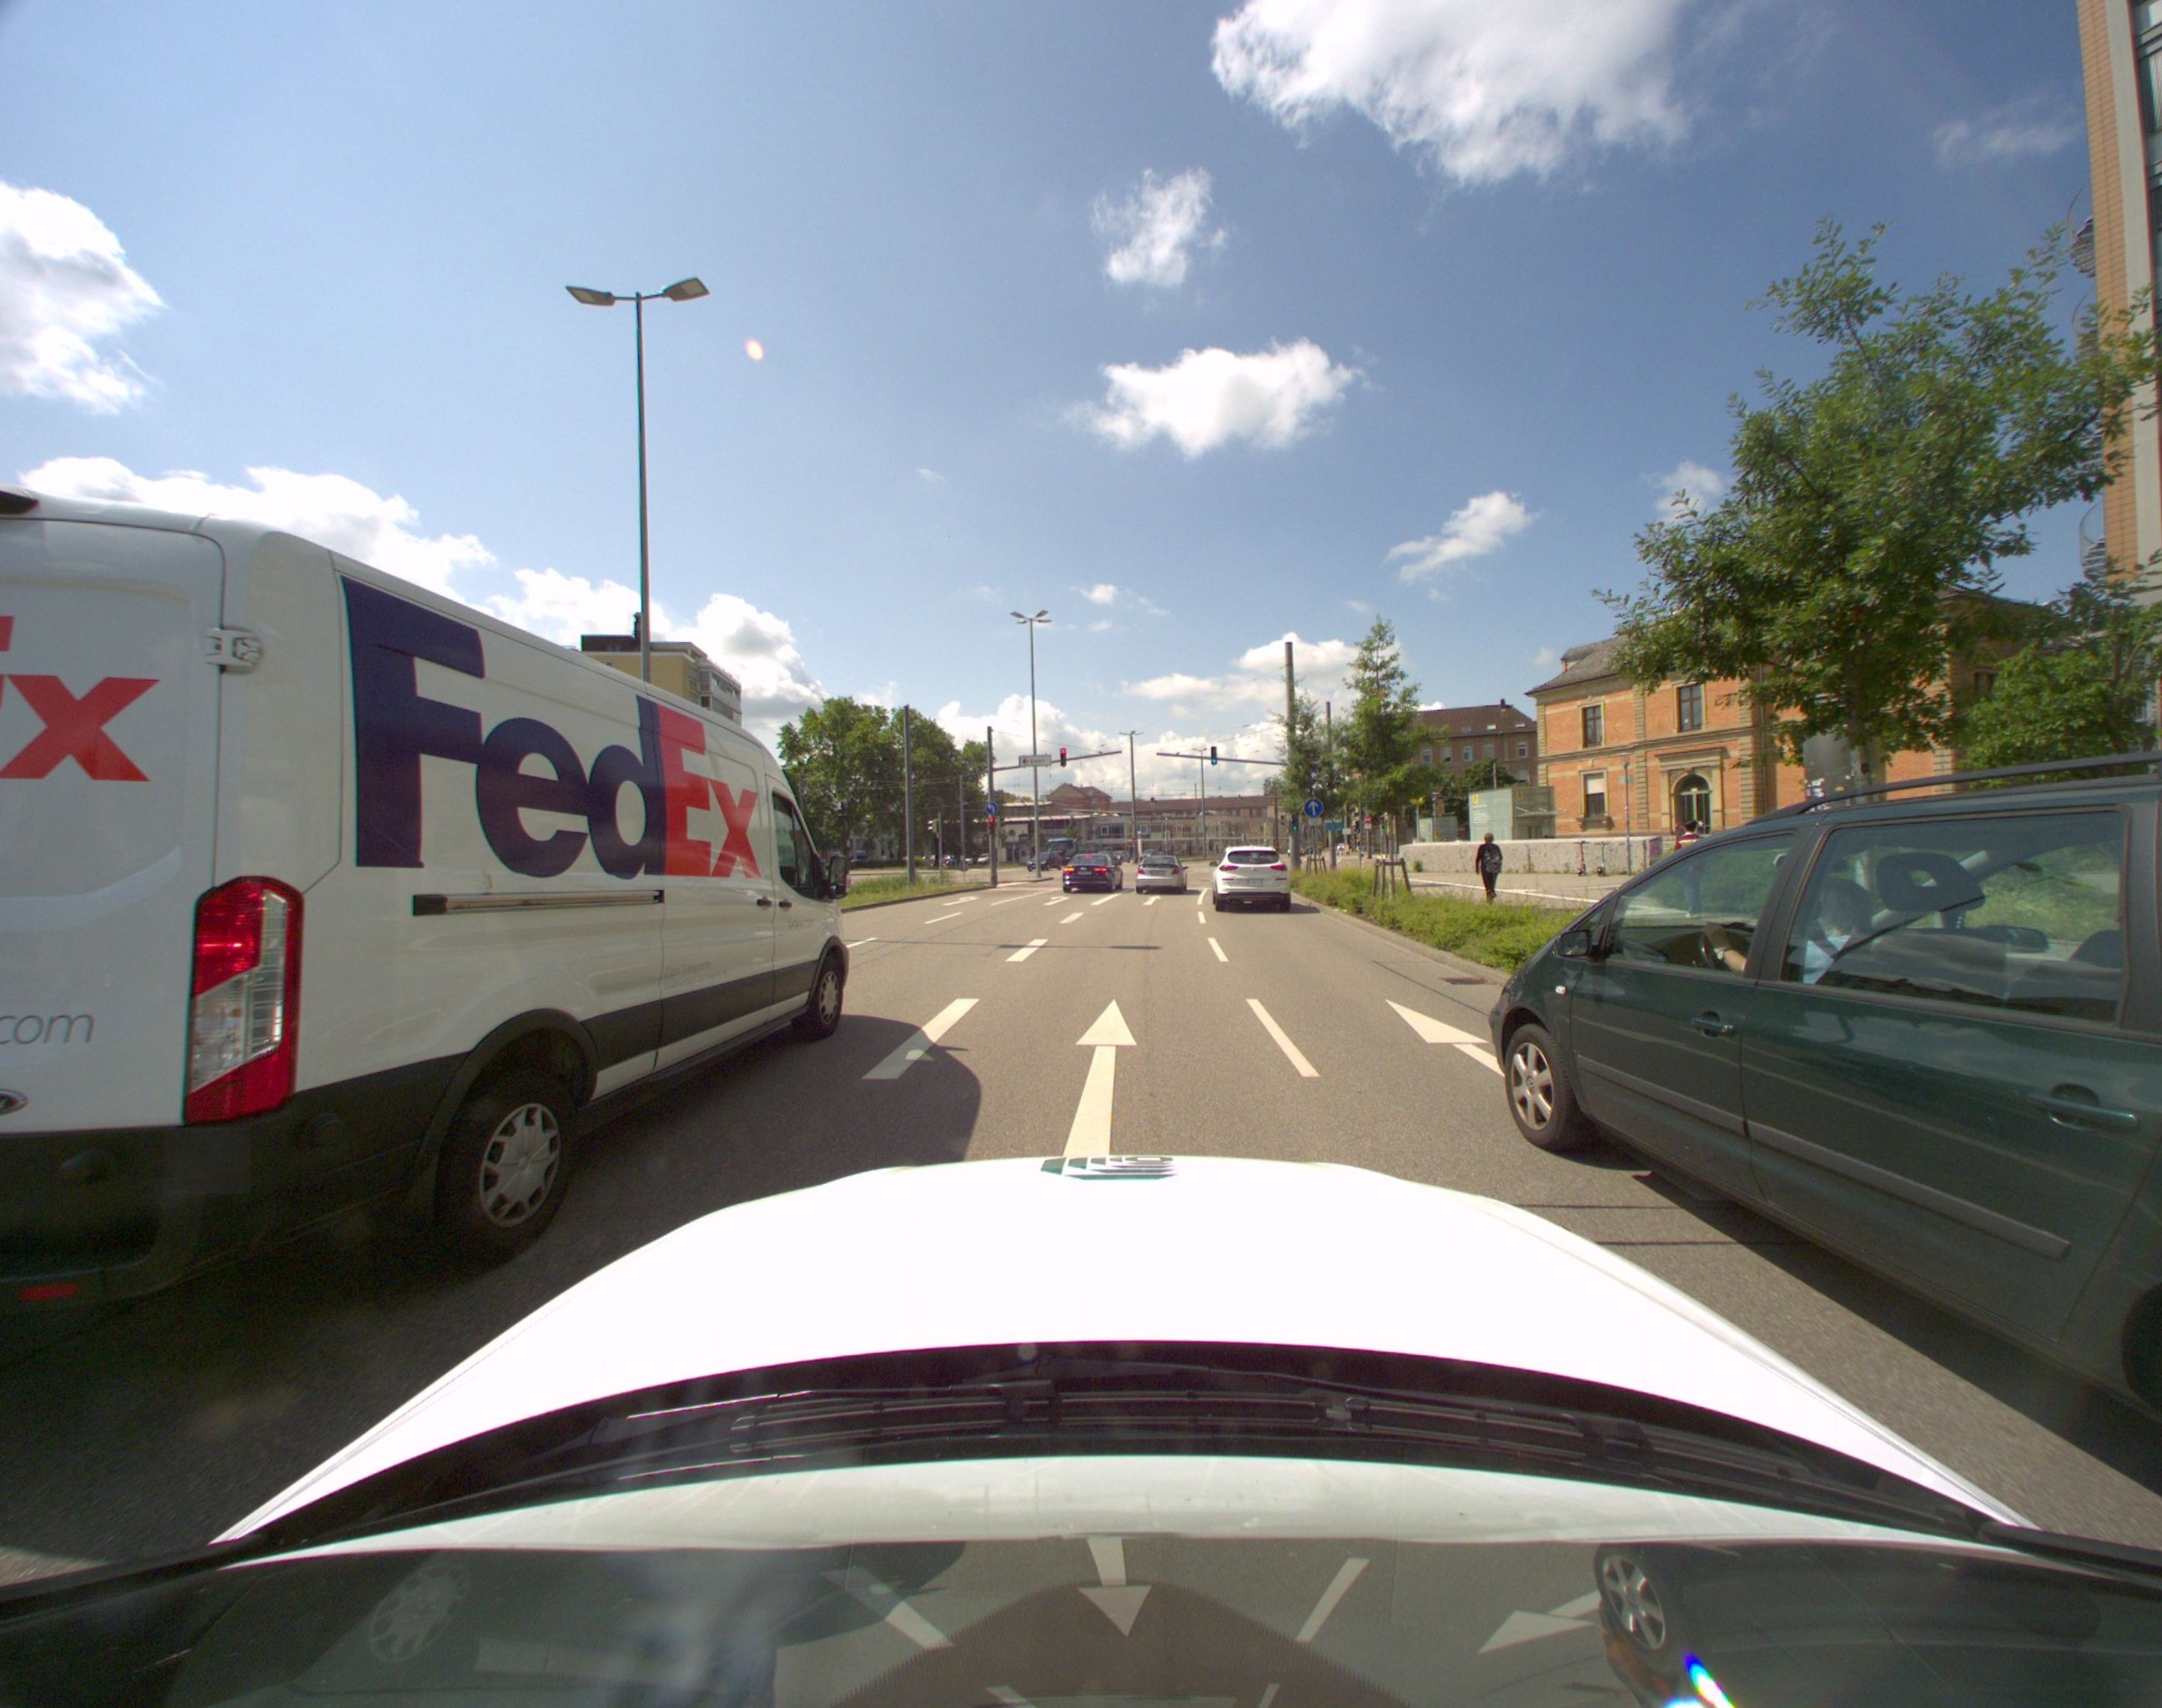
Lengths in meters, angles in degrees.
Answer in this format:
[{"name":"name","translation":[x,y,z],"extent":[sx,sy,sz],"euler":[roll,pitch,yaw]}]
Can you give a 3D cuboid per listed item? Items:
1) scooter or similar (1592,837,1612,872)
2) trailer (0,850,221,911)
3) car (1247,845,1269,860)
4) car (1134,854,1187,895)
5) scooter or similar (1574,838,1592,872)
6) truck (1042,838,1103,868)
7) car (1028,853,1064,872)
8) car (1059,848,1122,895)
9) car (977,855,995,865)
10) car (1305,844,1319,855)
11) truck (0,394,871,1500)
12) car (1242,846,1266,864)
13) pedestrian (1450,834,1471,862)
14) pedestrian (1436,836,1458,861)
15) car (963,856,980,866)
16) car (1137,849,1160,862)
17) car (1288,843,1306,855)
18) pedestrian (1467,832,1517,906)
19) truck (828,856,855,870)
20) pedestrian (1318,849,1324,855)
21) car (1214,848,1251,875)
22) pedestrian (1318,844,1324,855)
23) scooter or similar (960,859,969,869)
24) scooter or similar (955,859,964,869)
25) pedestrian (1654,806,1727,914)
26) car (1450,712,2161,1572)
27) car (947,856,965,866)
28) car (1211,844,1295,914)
[{"name":"scooter or similar","translation":[17.854,0.016,27.909],"extent":[1.461,1.123,0.228],"euler":[-4,1,-45]},{"name":"trailer","translation":[-68.439,1.792,55.963],"extent":[13.995,3.969,2.699],"euler":[-1,-1,-9]},{"name":"car","translation":[20.496,-0.235,94.191],"extent":[1.865,1.641,3.978],"euler":[-2,0,21]},{"name":"car","translation":[3.072,0.728,30.710],"extent":[1.731,1.391,4.190],"euler":[0,1,9]},{"name":"scooter or similar","translation":[17.778,0.027,28.830],"extent":[1.290,1.123,0.228],"euler":[-4,1,-45]},{"name":"truck","translation":[-0.723,-0.120,83.567],"extent":[2.860,2.852,8.841],"euler":[-2,0,23]},{"name":"car","translation":[-2.899,0.731,68.673],"extent":[1.640,1.469,4.173],"euler":[-2,0,18]},{"name":"car","translation":[0.461,0.612,31.680],"extent":[1.918,1.641,4.801],"euler":[-2,0,6]},{"name":"car","translation":[-15.699,1.062,134.607],"extent":[1.984,1.574,4.184],"euler":[-1,-1,5]},{"name":"car","translation":[35.497,-0.738,125.226],"extent":[1.866,1.641,3.976],"euler":[-2,0,19]},{"name":"truck","translation":[-3.115,0.239,4.896],"extent":[2.130,2.640,5.916],"euler":[-1,0,0]},{"name":"car","translation":[16.346,0.091,77.038],"extent":[1.867,1.641,3.974],"euler":[-2,0,16]},{"name":"pedestrian","translation":[25.386,-0.404,54.500],"extent":[0.759,1.751,0.856],"euler":[-3,-2,-25]},{"name":"pedestrian","translation":[24.954,-0.361,55.514],"extent":[0.969,1.657,0.856],"euler":[-3,-2,-25]},{"name":"car","translation":[-18.147,1.127,135.123],"extent":[1.984,1.574,4.184],"euler":[-1,-1,5]},{"name":"car","translation":[8.662,0.198,104.471],"extent":[1.703,1.531,4.144],"euler":[-2,0,23]},{"name":"car","translation":[29.851,-0.703,112.380],"extent":[1.864,1.641,3.979],"euler":[-2,0,23]},{"name":"pedestrian","translation":[9.031,0.335,17.925],"extent":[0.752,1.590,0.763],"euler":[-1,-1,7]},{"name":"truck","translation":[-37.733,1.423,128.435],"extent":[1.791,2.120,4.795],"euler":[-2,0,13]},{"name":"pedestrian","translation":[33.708,-0.267,114.361],"extent":[0.520,0.906,1.569],"euler":[-1,-1,23]},{"name":"car","translation":[8.605,0.390,46.126],"extent":[1.868,1.419,3.971],"euler":[-2,0,13]},{"name":"pedestrian","translation":[33.746,-0.618,114.509],"extent":[0.686,1.457,0.683],"euler":[-1,-1,23]},{"name":"scooter or similar","translation":[-12.148,1.038,84.913],"extent":[0.374,1.115,1.101],"euler":[-1,-1,27]},{"name":"scooter or similar","translation":[-12.724,1.049,85.210],"extent":[0.374,1.115,1.101],"euler":[-1,-1,27]},{"name":"pedestrian","translation":[10.605,0.106,14.193],"extent":[0.752,1.821,0.675],"euler":[-1,-1,5]},{"name":"car","translation":[3.117,0.584,2.882],"extent":[1.787,1.723,4.451],"euler":[0,0,2]},{"name":"car","translation":[-20.789,1.171,135.370],"extent":[1.984,1.574,4.184],"euler":[-1,-1,5]},{"name":"car","translation":[4.470,0.593,21.689],"extent":[1.870,1.641,4.242],"euler":[-2,0,8]}]
